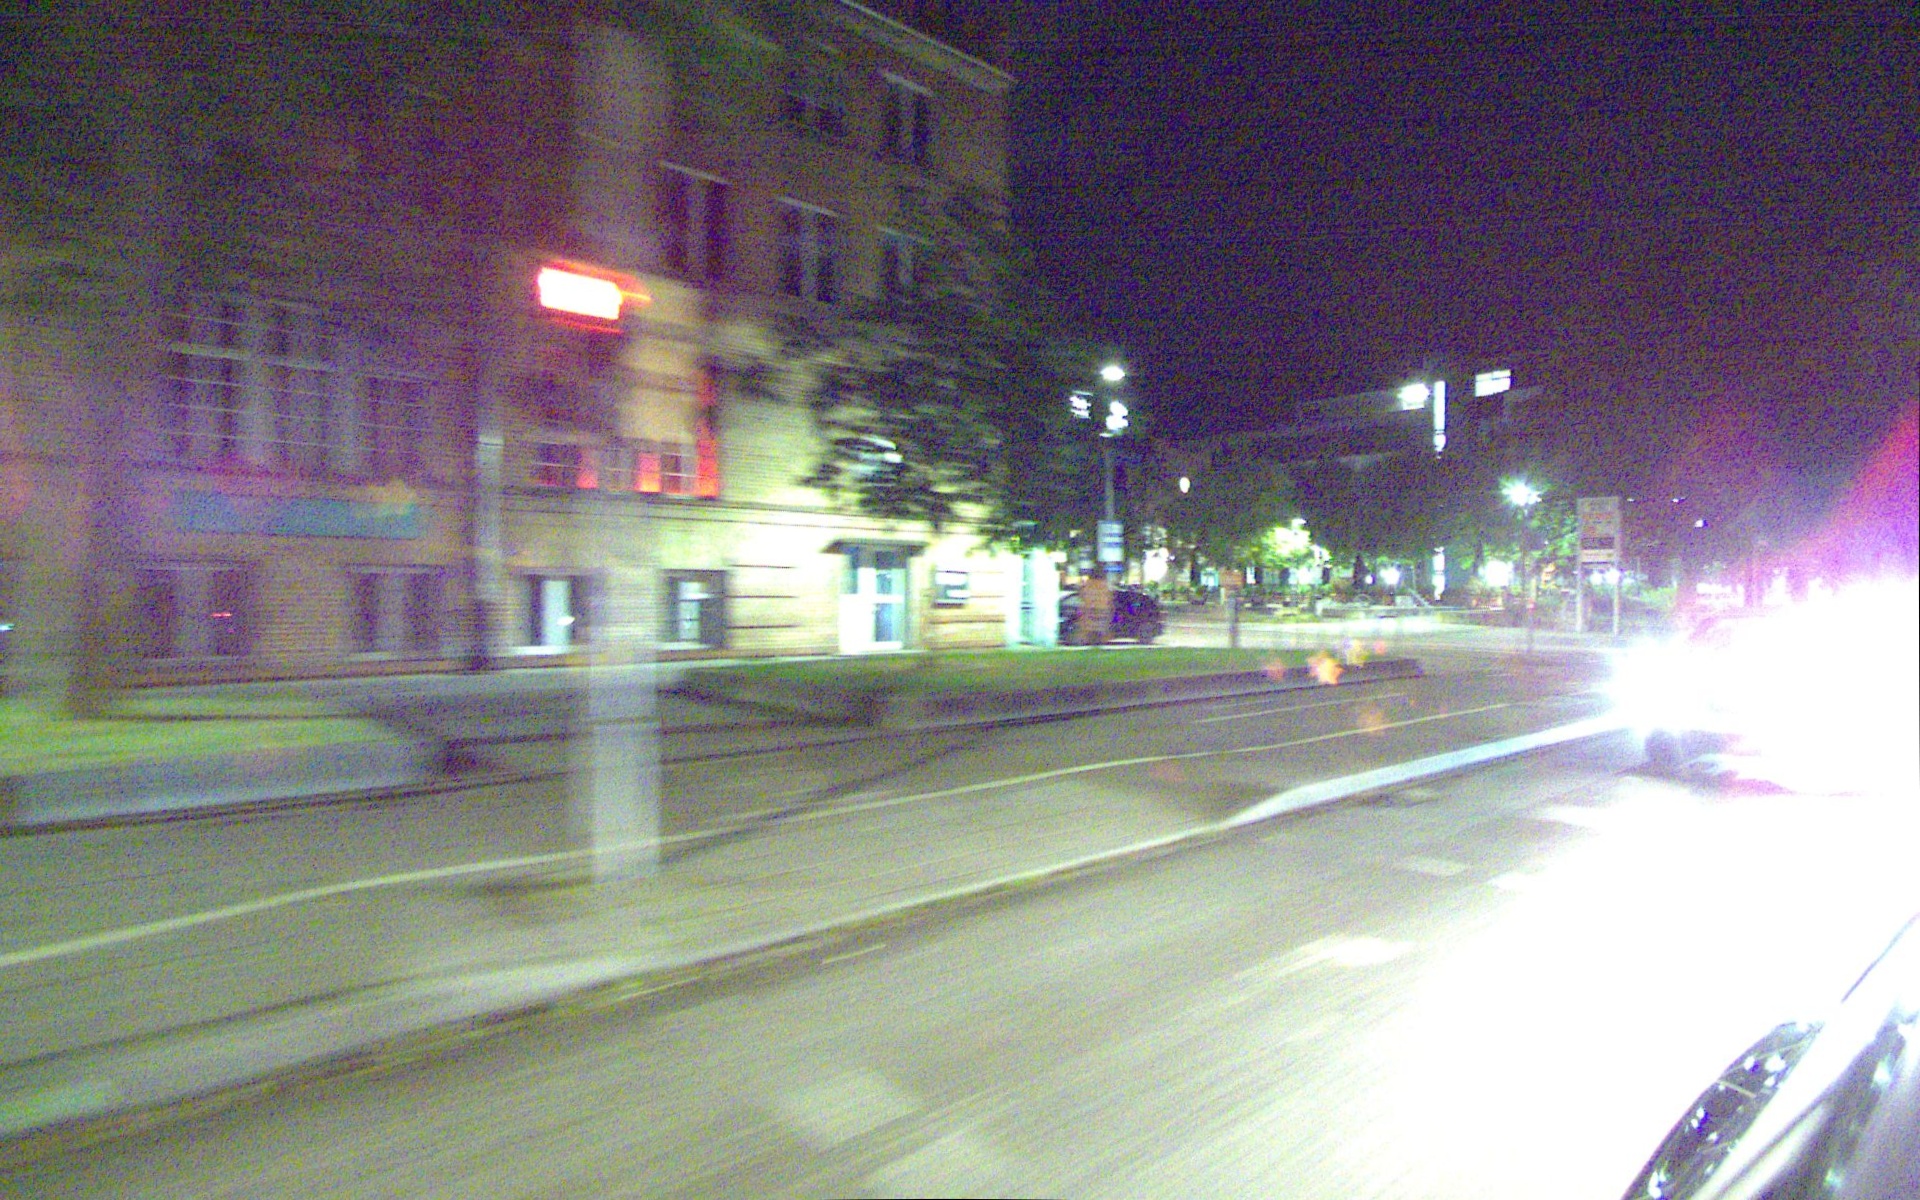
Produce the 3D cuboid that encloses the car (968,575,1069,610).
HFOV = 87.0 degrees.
[{"bbox_3d":[2.754,-0.361,47.174,4.808,1.531,1.892,-1,1,-42],"label":"car"}]

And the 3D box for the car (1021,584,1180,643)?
[{"bbox_3d":[3.809,0.310,27.044,4.398,1.412,1.517,0,2,-37],"label":"car"}]

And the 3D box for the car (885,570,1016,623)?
[{"bbox_3d":[-0.252,-0.138,31.844,3.930,1.552,1.785,-1,1,-41],"label":"car"}]

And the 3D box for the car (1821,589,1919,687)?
[{"bbox_3d":[16.449,0.573,17.342,4.646,1.513,1.808,-1,-1,-40],"label":"car"}]

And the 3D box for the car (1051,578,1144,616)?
[{"bbox_3d":[5.951,-0.149,43.692,4.026,1.552,1.772,-1,1,-41],"label":"car"}]

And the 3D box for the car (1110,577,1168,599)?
[{"bbox_3d":[13.371,-0.905,75.515,4.226,1.527,1.997,0,2,-41],"label":"car"}]

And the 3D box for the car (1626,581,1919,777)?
[{"bbox_3d":[8.008,0.610,9.751,3.930,1.514,1.640,0,-1,-41],"label":"car"}]
